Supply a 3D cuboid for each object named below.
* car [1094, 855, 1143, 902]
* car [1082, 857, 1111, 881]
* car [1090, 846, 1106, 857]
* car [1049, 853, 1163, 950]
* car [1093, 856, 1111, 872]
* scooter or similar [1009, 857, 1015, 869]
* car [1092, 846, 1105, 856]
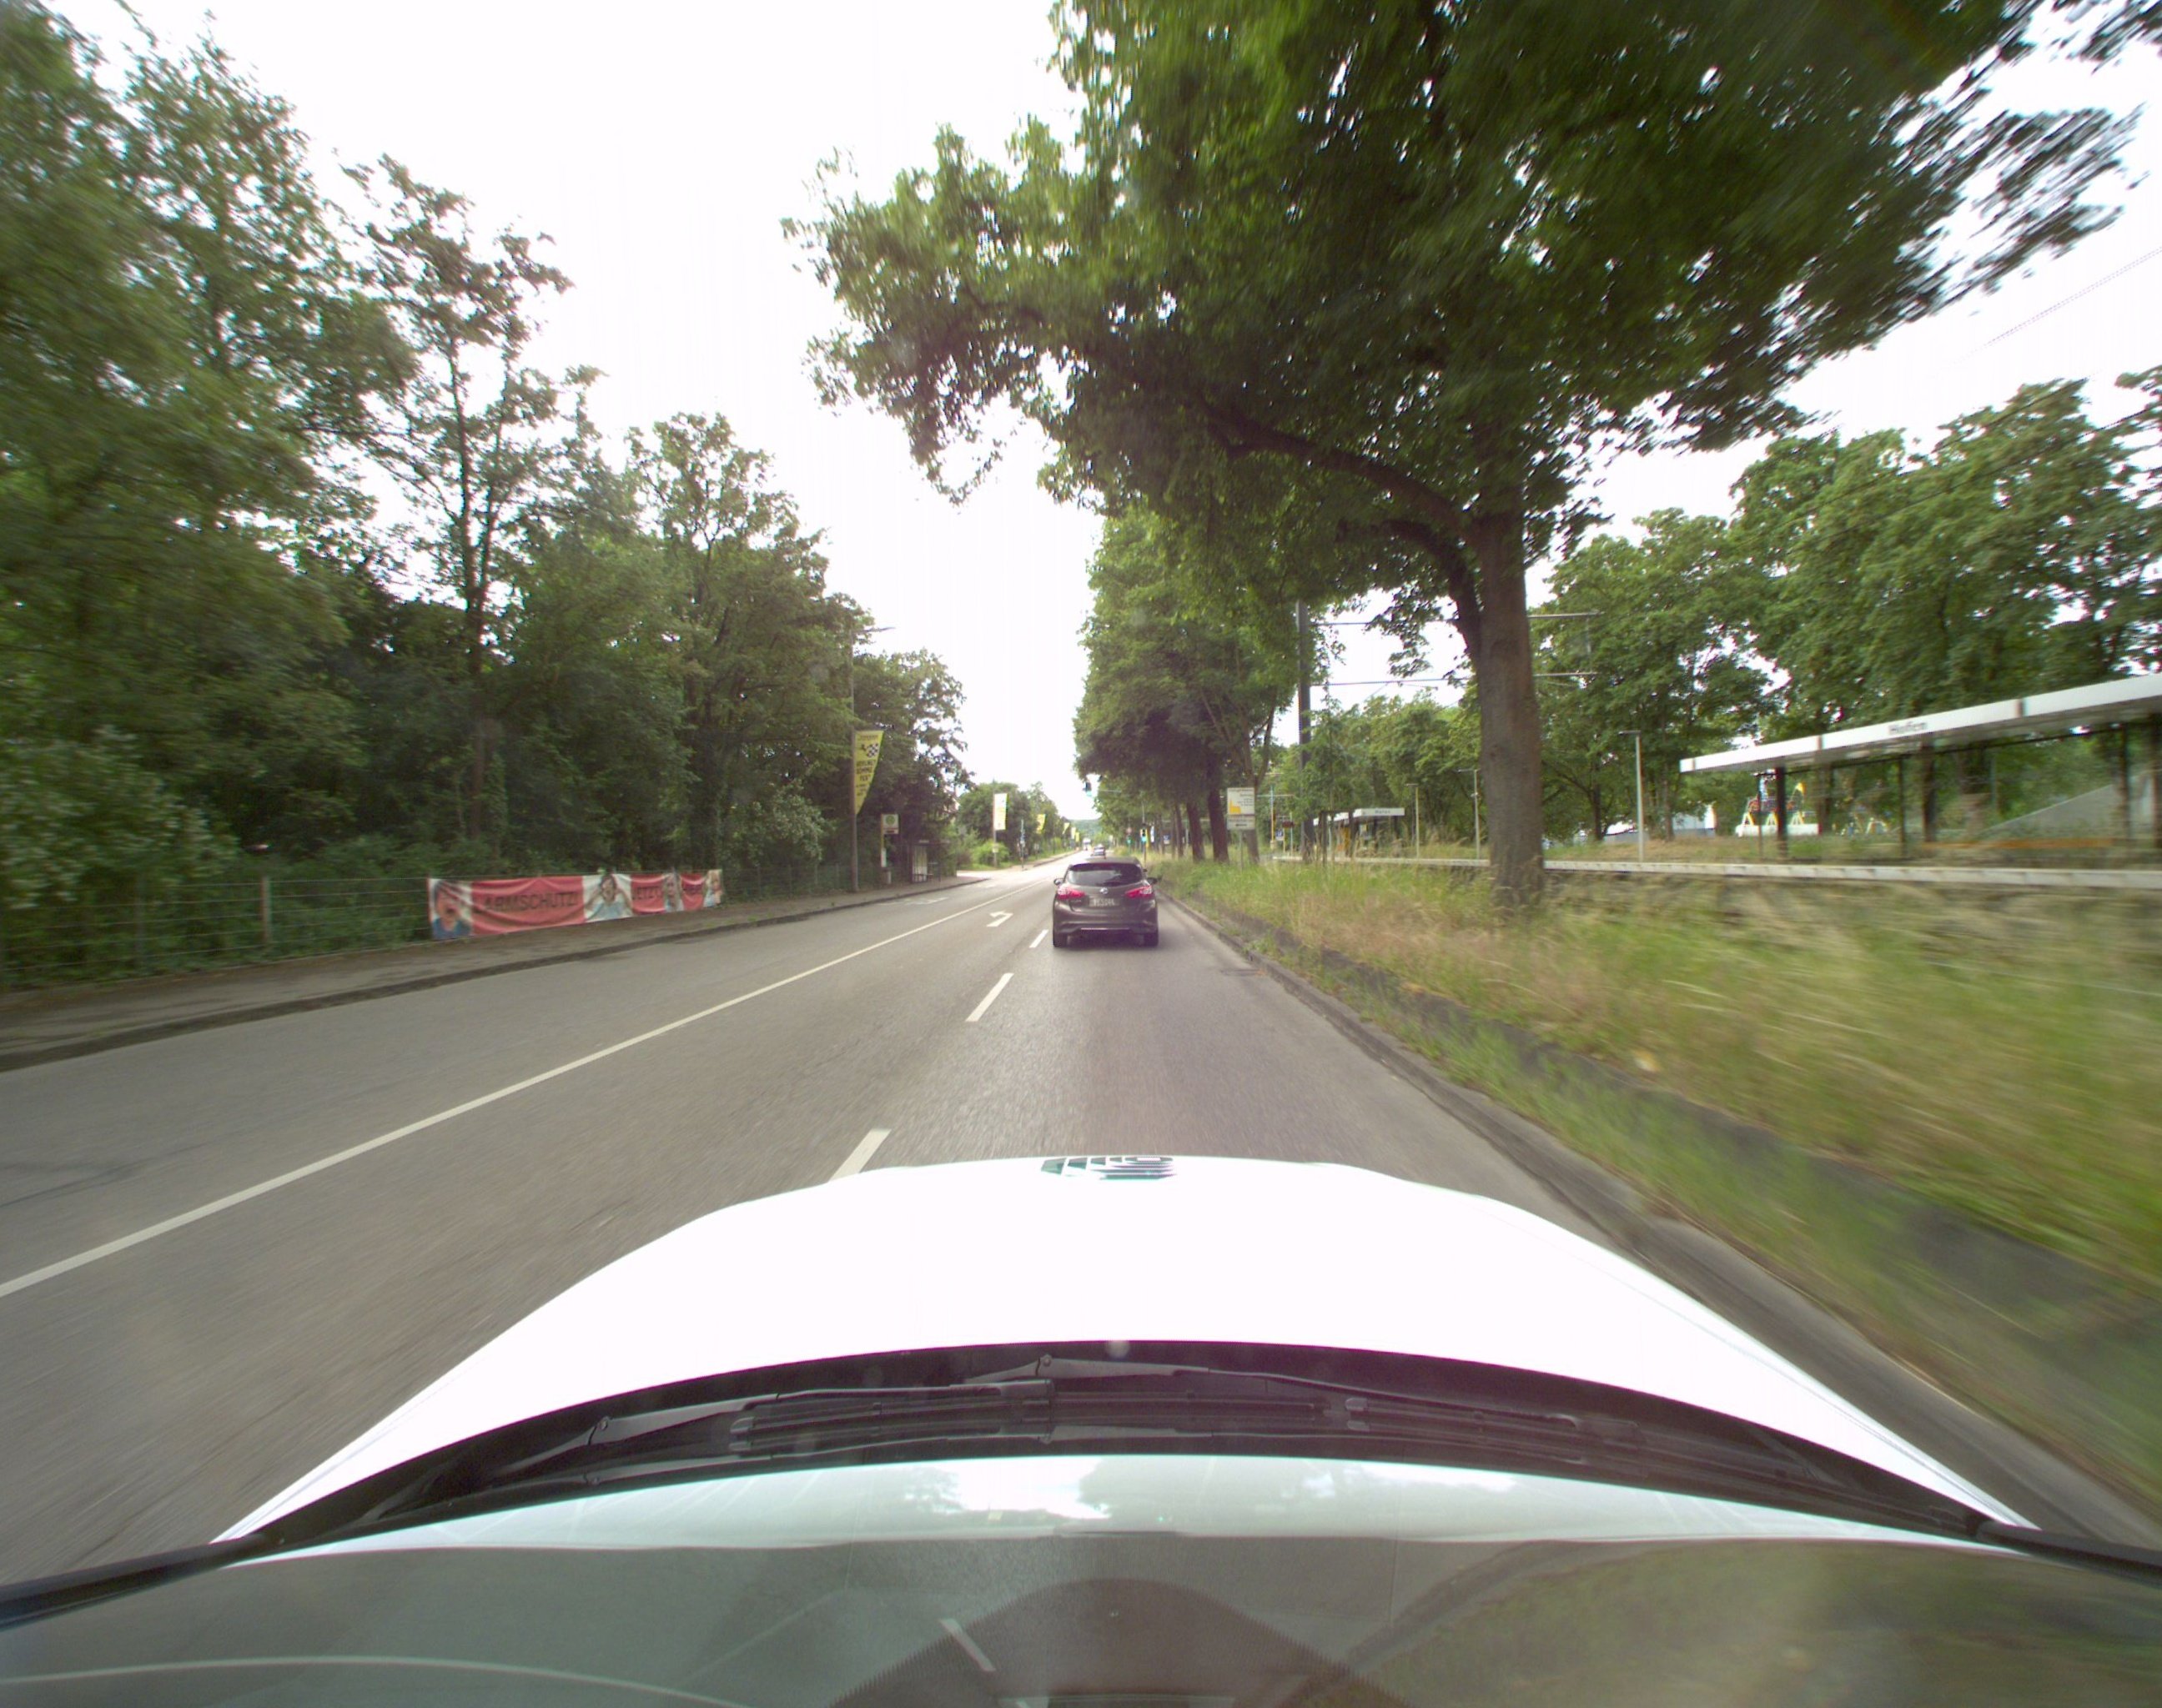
[{"bbox_3d":[1.199,0.758,26.830,1.496,1.441,3.543,-1,0,1],"label":"car"},{"bbox_3d":[0.987,0.924,51.046,1.685,1.441,3.543,-1,0,1],"label":"car"},{"bbox_3d":[2.146,-0.326,100.751,1.986,1.321,4.001,1,-1,2],"label":"car"},{"bbox_3d":[0.470,0.753,14.751,1.777,1.507,3.698,-1,0,2],"label":"car"},{"bbox_3d":[2.058,0.908,78.242,1.685,1.441,3.543,-1,0,1],"label":"car"},{"bbox_3d":[-7.478,0.959,88.019,0.460,1.259,1.427,-1,0,3],"label":"scooter or similar"},{"bbox_3d":[2.799,-0.427,130.240,1.986,1.574,4.001,1,-1,1],"label":"car"}]
